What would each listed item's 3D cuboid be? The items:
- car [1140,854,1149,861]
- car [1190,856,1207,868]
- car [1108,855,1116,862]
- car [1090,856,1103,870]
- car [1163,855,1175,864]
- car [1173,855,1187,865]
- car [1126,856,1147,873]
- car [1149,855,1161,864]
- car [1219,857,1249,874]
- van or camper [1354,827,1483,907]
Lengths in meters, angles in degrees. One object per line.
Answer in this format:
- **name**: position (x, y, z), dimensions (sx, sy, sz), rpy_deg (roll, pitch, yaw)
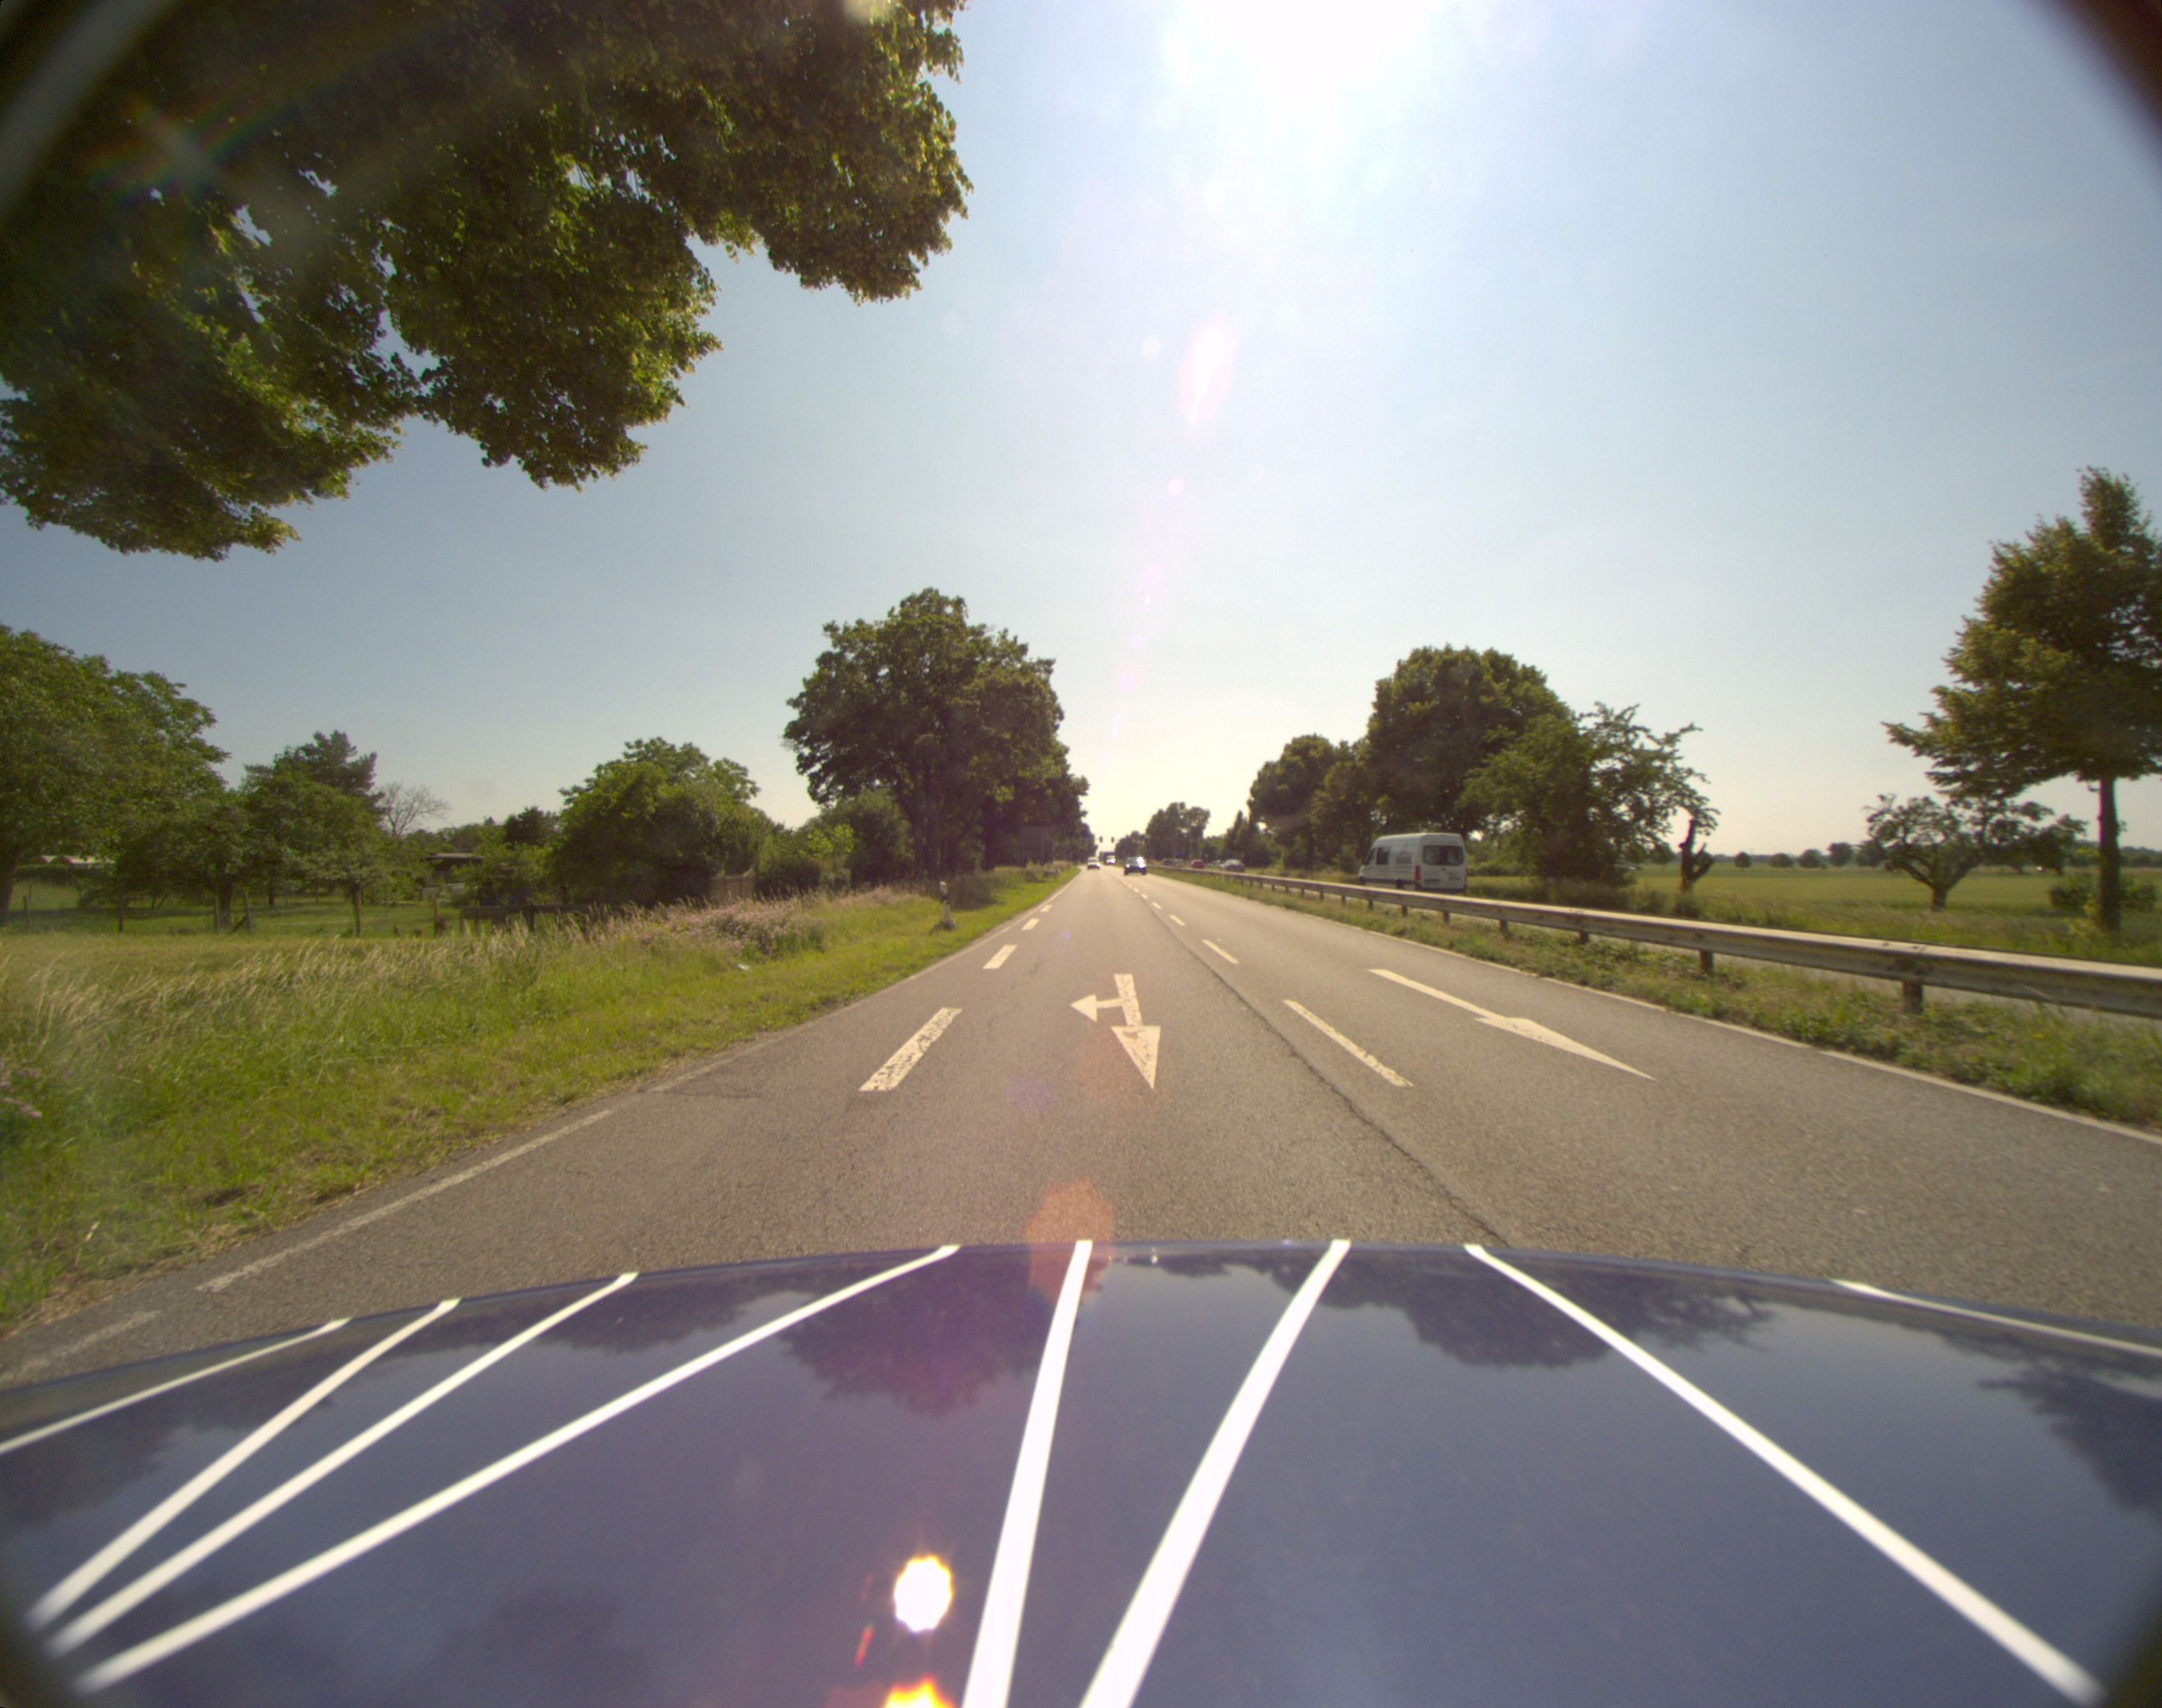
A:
- **car**: position (13.502, 0.777, 162.120), dimensions (1.765, 1.581, 3.750), rpy_deg (0, 0, 0)
- **car**: position (15.809, 1.035, 102.493), dimensions (1.765, 1.581, 3.894), rpy_deg (0, 0, 0)
- **car**: position (7.635, 1.101, 186.431), dimensions (1.886, 1.775, 4.000), rpy_deg (0, 0, 1)
- **car**: position (2.145, 1.240, 107.833), dimensions (1.777, 1.863, 4.581), rpy_deg (0, 0, 0)
- **car**: position (16.333, 1.017, 141.168), dimensions (1.765, 1.581, 3.894), rpy_deg (0, 0, 0)
- **car**: position (16.302, 1.035, 125.003), dimensions (1.765, 1.581, 3.894), rpy_deg (0, 0, 0)
- **car**: position (5.079, 0.925, 70.333), dimensions (1.860, 1.507, 4.100), rpy_deg (0, 0, 3)
- **car**: position (12.966, 1.005, 133.765), dimensions (1.765, 1.581, 3.751), rpy_deg (0, 0, 0)
- **car**: position (14.948, 1.086, 74.533), dimensions (1.960, 1.581, 4.865), rpy_deg (0, 0, 0)
- **van or camper**: position (13.822, 0.484, 31.799), dimensions (2.391, 2.931, 7.092), rpy_deg (0, 0, 1)
